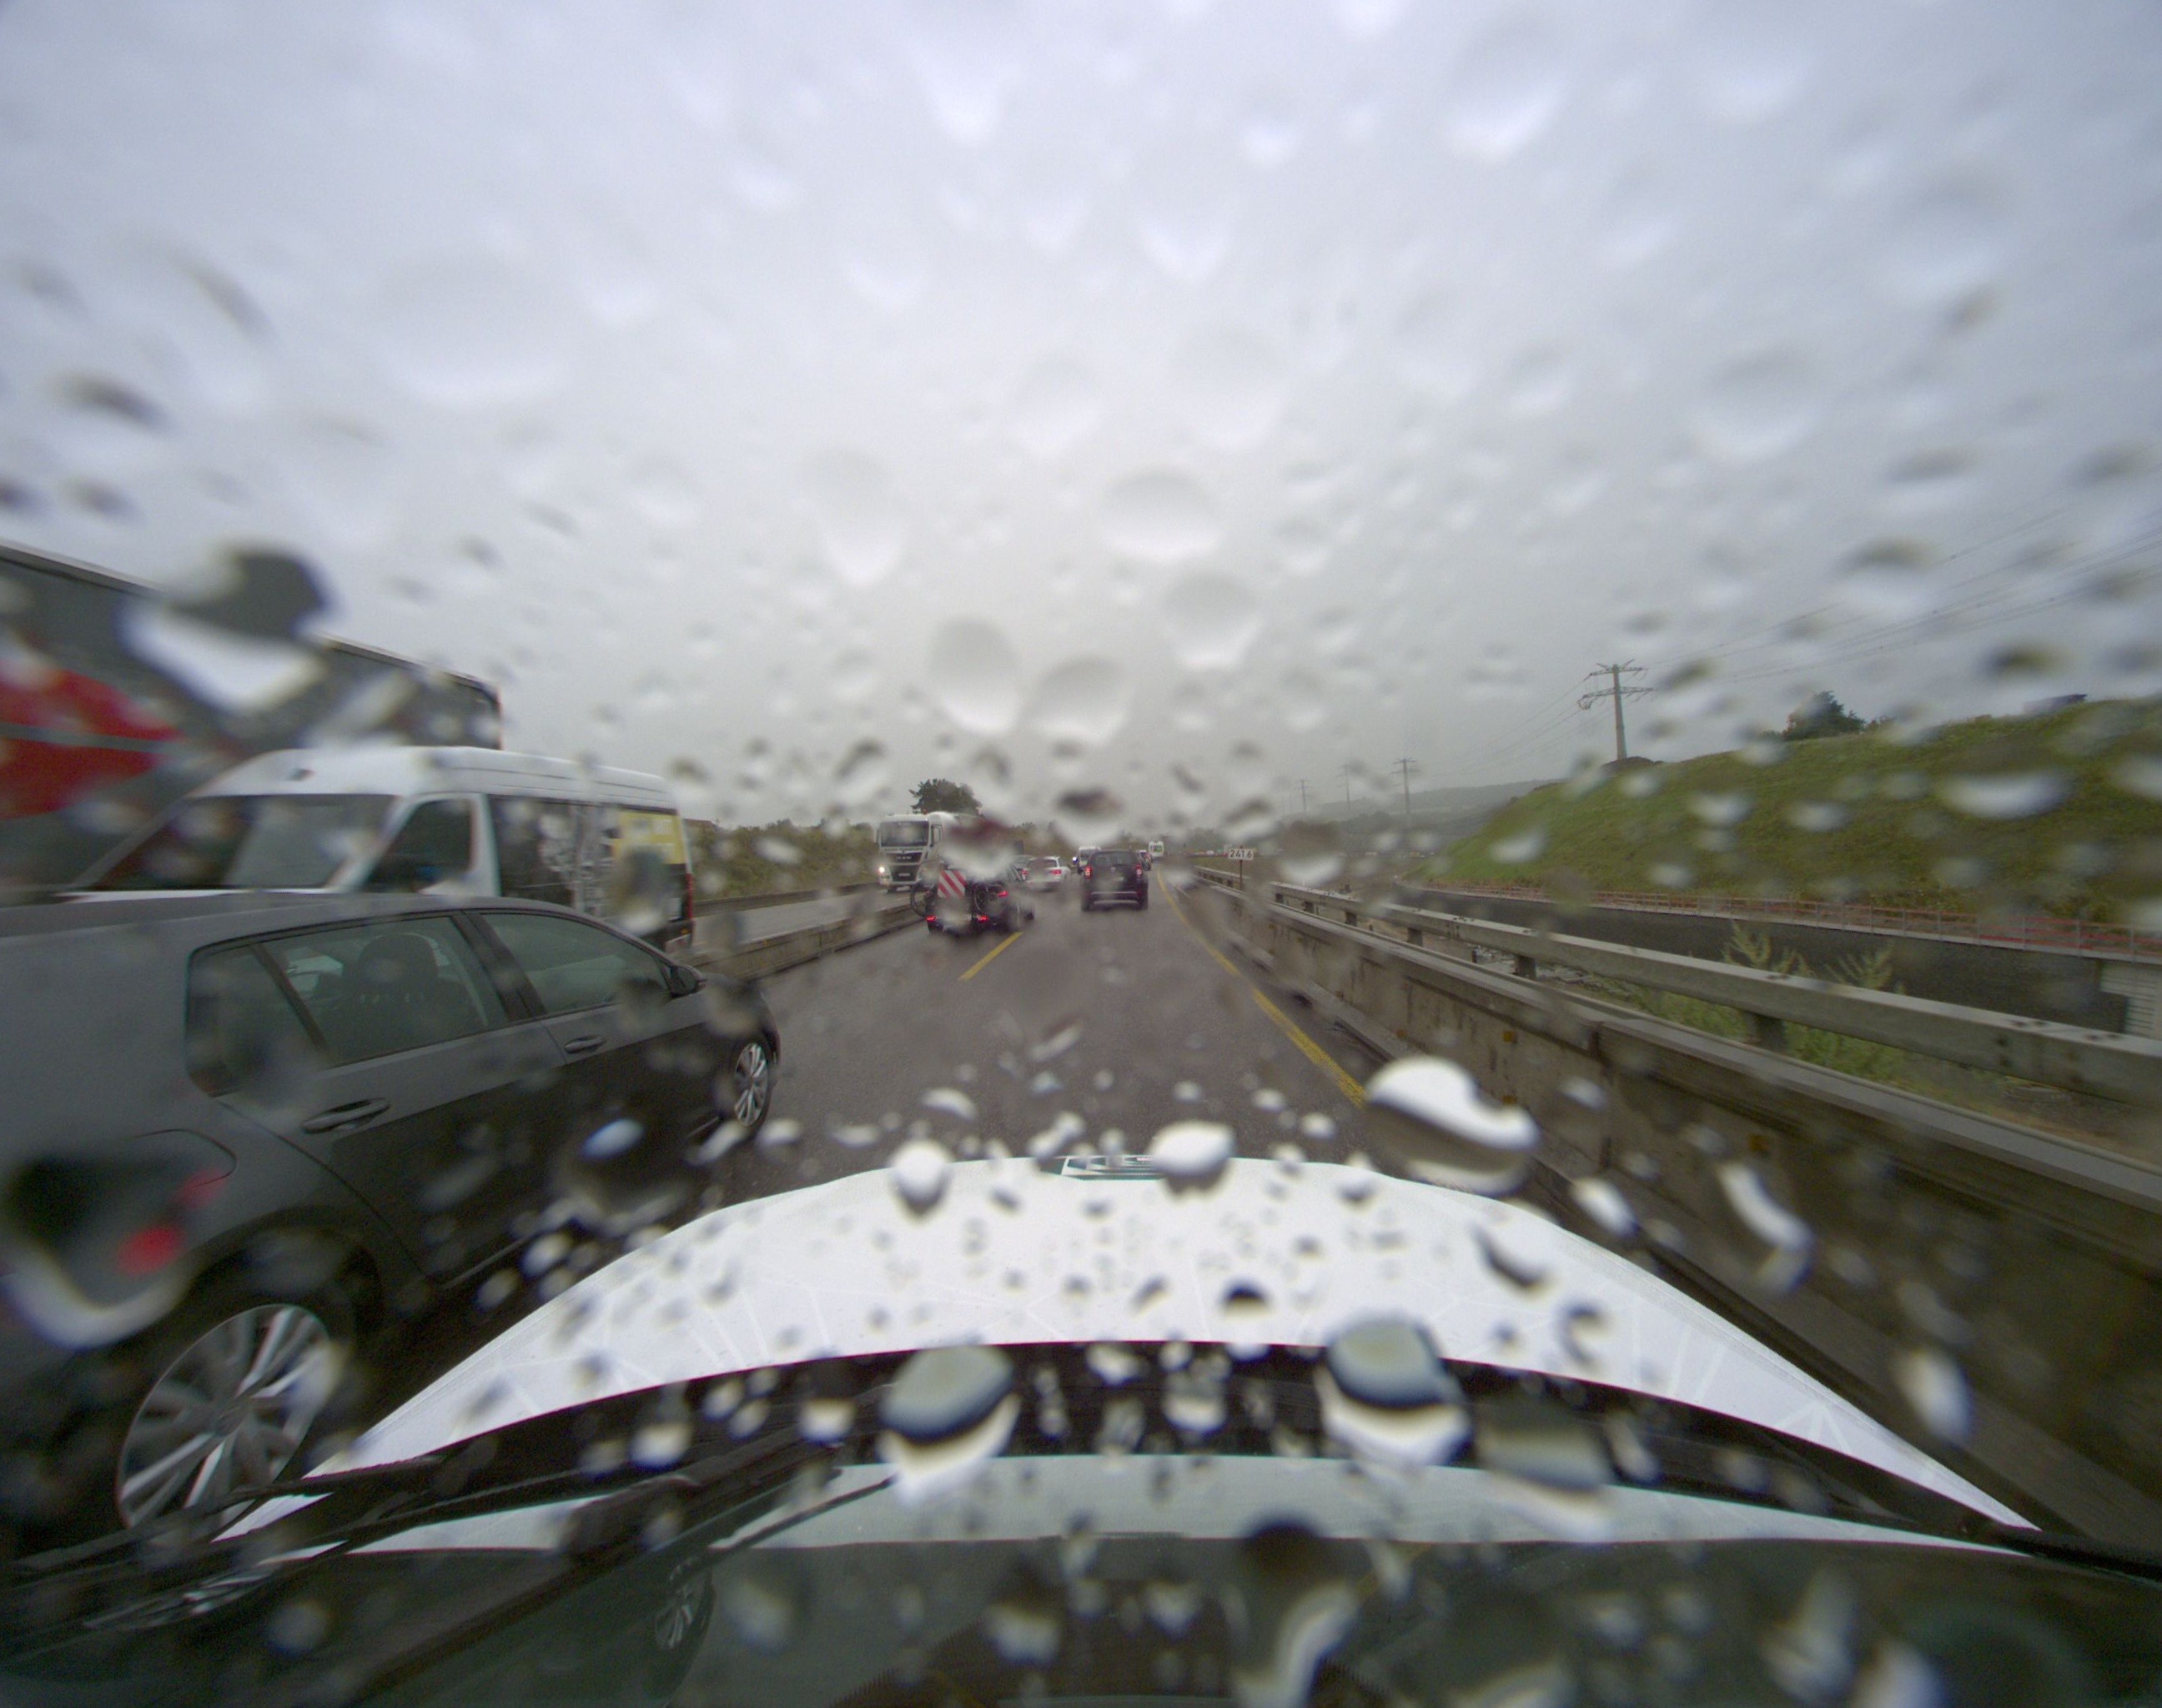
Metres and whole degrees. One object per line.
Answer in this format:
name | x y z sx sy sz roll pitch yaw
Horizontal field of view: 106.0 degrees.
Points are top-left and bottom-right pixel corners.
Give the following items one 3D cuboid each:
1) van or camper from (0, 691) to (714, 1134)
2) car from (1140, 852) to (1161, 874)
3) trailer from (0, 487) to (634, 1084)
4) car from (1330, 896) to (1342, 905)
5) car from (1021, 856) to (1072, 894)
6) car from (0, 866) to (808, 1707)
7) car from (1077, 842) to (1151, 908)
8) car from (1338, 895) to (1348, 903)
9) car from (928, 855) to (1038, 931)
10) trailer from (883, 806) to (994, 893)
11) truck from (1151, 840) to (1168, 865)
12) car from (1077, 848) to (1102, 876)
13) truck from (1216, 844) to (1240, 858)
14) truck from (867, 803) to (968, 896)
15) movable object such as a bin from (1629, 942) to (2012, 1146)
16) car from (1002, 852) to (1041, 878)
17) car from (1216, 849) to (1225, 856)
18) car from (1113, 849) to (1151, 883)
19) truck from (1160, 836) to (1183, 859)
van or camper | -6.037 0.354 7.750 2.270 2.614 5.831 -1 0 2
car | 5.356 0.689 62.802 1.523 1.640 4.018 -1 0 5
trailer | -9.452 -0.454 5.991 2.984 4.420 15.710 -3 0 2
car | 61.231 11.169 195.637 2.350 2.013 4.012 -1 0 11
car | -1.375 0.842 34.244 1.861 1.460 4.549 -1 0 1
car | -2.594 0.859 2.921 1.608 1.506 4.369 -3 0 1
car | 1.007 0.545 22.637 1.796 1.646 3.782 -2 0 5
car | 67.888 11.584 210.934 1.980 1.816 4.014 -2 -1 13
car | -2.075 0.798 18.333 1.821 1.476 3.778 -2 0 2
trailer | -7.268 -0.197 43.731 3.242 3.964 11.545 -2 0 3
truck | 10.434 -0.179 108.199 2.139 3.166 6.468 -1 0 5
car | 0.635 0.551 58.177 1.654 1.880 4.022 -1 0 2
truck | 44.106 -0.833 243.412 4.678 4.150 15.759 -1 0 19
truck | -7.534 -0.201 38.453 3.218 3.955 5.885 -2 0 2
movable object such as a bin | 27.914 6.774 32.390 4.870 5.671 12.105 0 -3 5
car | -3.551 0.640 49.339 1.796 1.439 4.953 -3 0 2
car | 35.682 -0.416 208.010 1.762 1.916 4.016 -1 0 14
car | 2.655 0.597 43.038 1.860 1.708 4.002 -1 0 2
truck | 15.022 -1.041 134.737 3.180 3.761 8.534 -1 0 10
